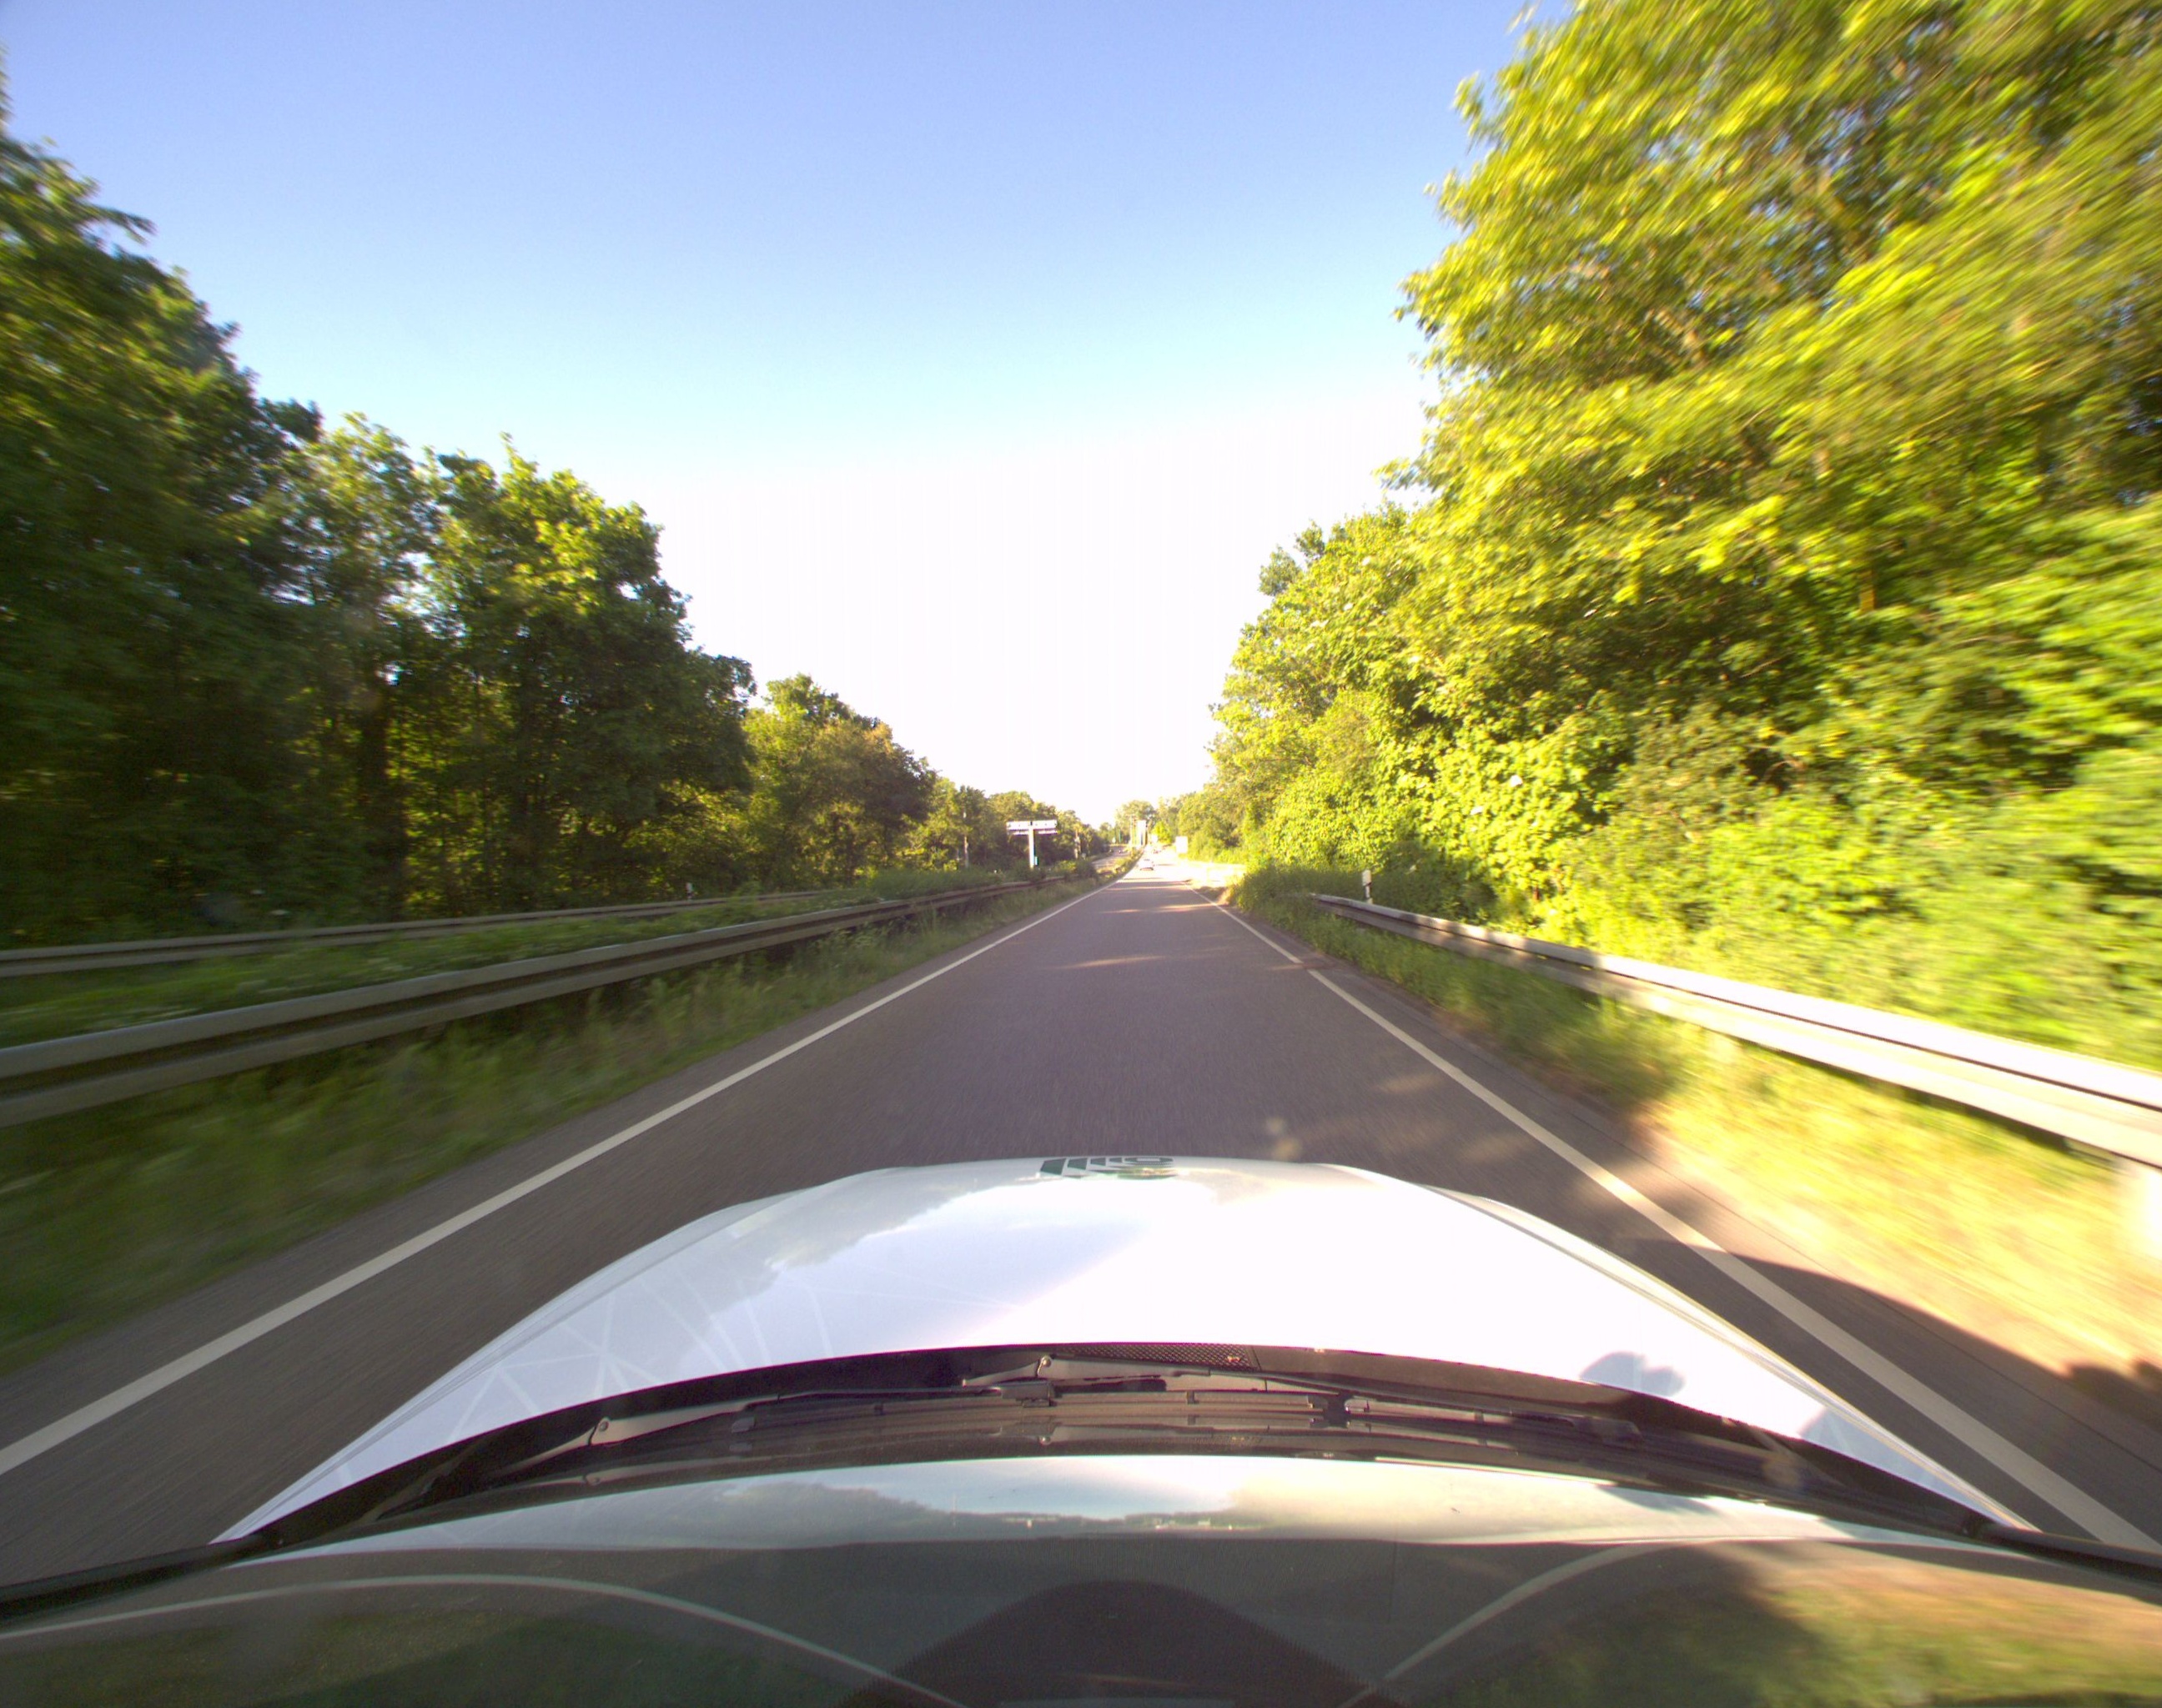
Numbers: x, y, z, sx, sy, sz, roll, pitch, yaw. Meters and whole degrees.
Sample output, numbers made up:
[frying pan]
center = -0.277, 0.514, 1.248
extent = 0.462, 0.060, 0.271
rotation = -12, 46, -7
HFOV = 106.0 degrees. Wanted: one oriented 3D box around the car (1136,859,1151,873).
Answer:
[car]
center = 8.759, 1.656, 114.164
extent = 1.878, 1.816, 4.001
rotation = 0, 0, 2
